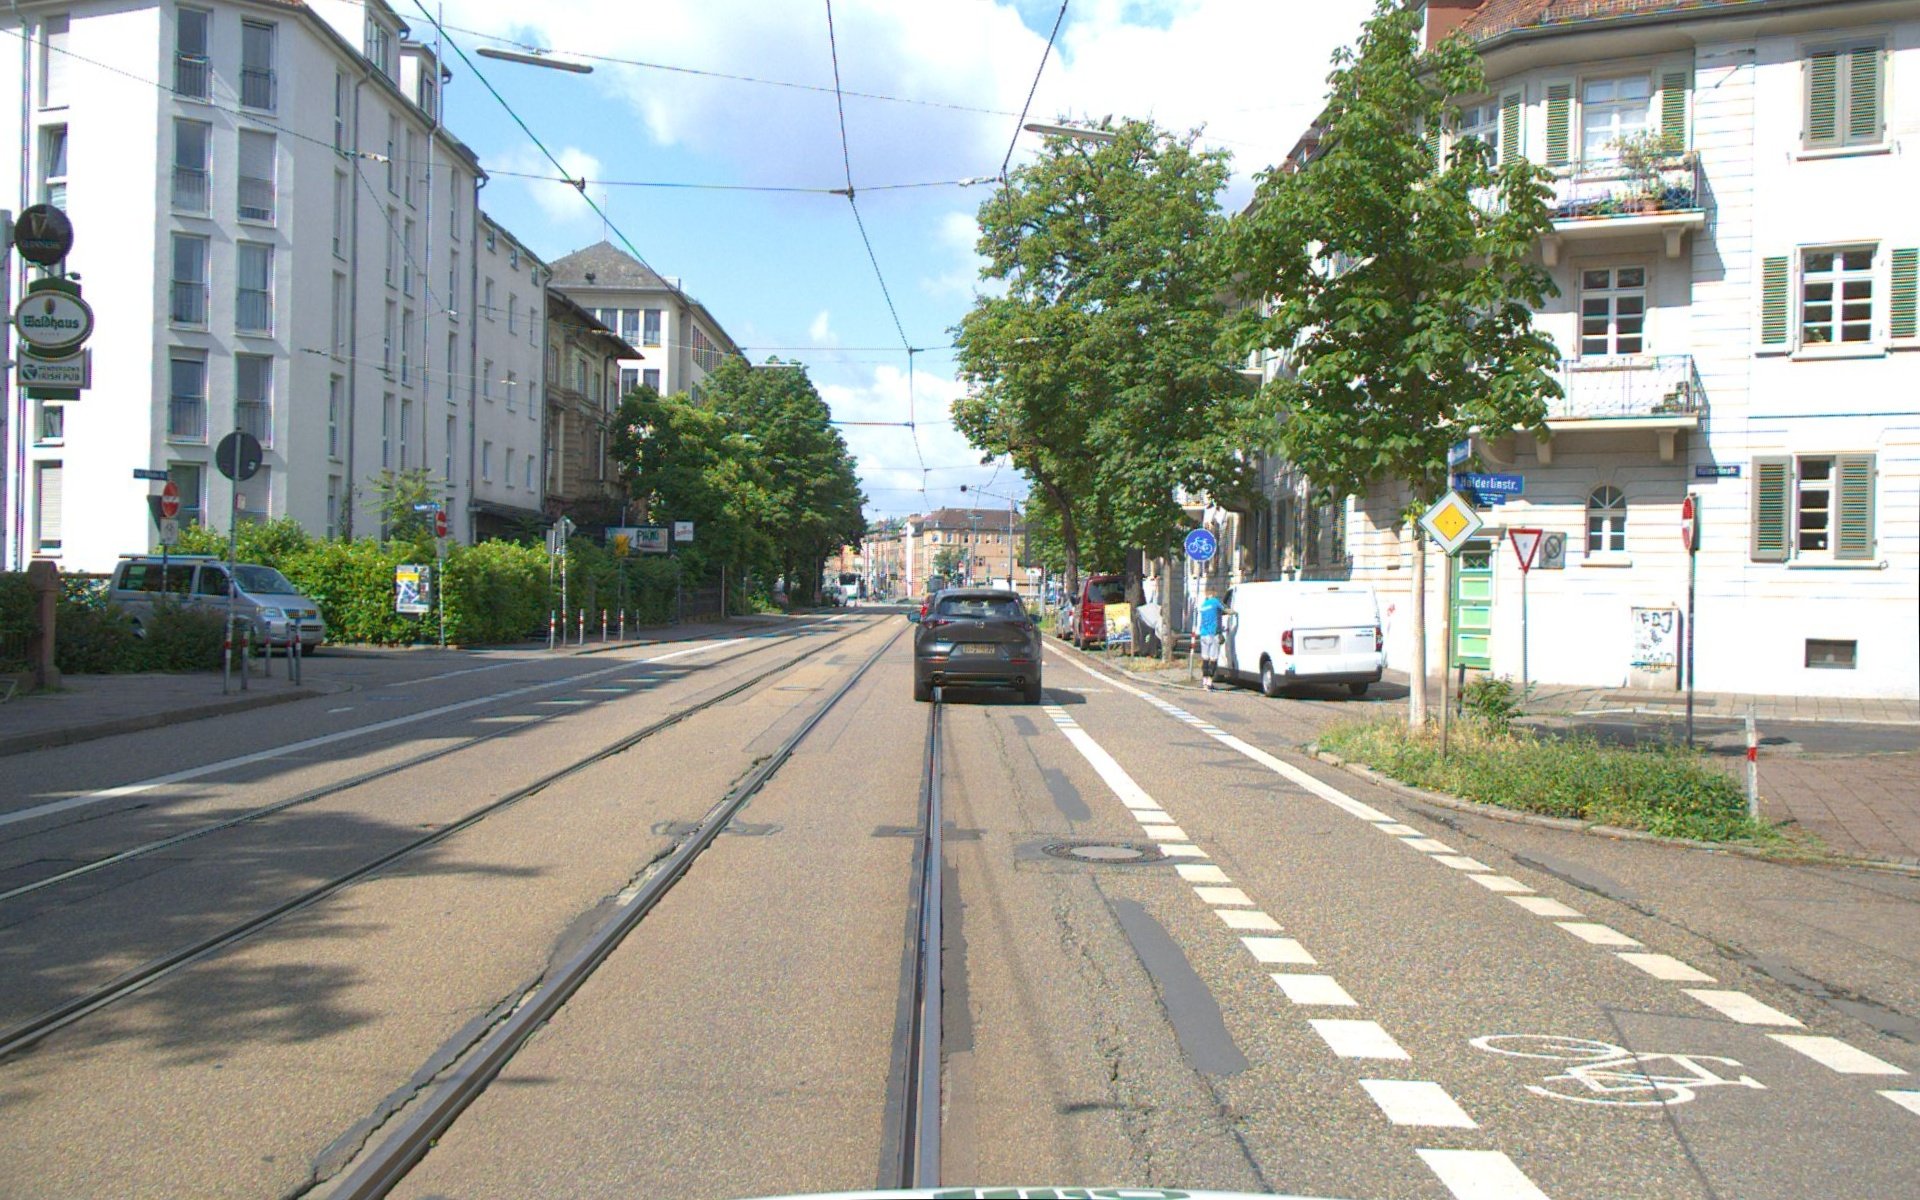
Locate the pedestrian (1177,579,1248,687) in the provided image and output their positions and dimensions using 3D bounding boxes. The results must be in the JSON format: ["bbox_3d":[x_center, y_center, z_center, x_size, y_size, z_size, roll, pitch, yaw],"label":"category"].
[{"bbox_3d":[4.463,0.583,29.274,0.944,1.868,0.813,1,0,-18],"label":"pedestrian"}]

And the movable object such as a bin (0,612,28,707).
[{"bbox_3d":[-10.732,0.632,17.807,0.730,1.005,1.114,3,0,-1],"label":"movable object such as a bin"}]

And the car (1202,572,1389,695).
[{"bbox_3d":[5.807,0.521,29.275,1.753,1.972,4.984,1,0,-7],"label":"car"}]

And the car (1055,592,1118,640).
[{"bbox_3d":[4.084,0.494,53.805,1.686,1.449,3.588,1,0,-1],"label":"car"}]

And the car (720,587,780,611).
[{"bbox_3d":[-13.323,-0.067,105.070,3.673,1.309,1.609,3,0,-5],"label":"car"}]

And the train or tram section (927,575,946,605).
[{"bbox_3d":[-3.130,-1.324,223.368,2.519,3.838,13.025,1,0,0],"label":"train or tram section"}]

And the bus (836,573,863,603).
[{"bbox_3d":[-13.746,-1.478,205.435,2.637,3.480,11.002,3,0,-7],"label":"bus"}]

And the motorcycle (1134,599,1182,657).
[{"bbox_3d":[4.668,0.639,39.188,0.778,1.293,2.422,1,0,-1],"label":"motorcycle"}]

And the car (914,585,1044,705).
[{"bbox_3d":[0.219,0.579,23.563,1.686,1.553,3.588,1,0,-1],"label":"car"}]

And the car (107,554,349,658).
[{"bbox_3d":[-15.459,0.095,34.957,4.566,2.049,2.046,1,0,21],"label":"car"}]

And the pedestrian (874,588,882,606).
[{"bbox_3d":[-9.137,-0.357,184.079,0.867,2.049,0.617,1,0,-5],"label":"pedestrian"}]

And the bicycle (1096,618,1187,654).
[{"bbox_3d":[4.632,0.911,42.297,2.229,0.876,0.671,1,0,-2],"label":"bicycle"}]

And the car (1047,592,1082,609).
[{"bbox_3d":[11.950,0.044,189.005,3.770,1.646,1.620,3,0,-32],"label":"car"}]

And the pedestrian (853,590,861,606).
[{"bbox_3d":[-9.941,-0.177,159.634,0.736,1.537,0.823,1,0,-5],"label":"pedestrian"}]

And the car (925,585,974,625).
[{"bbox_3d":[-0.482,0.201,70.101,1.953,1.555,3.999,3,0,-1],"label":"car"}]

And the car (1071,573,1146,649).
[{"bbox_3d":[4.095,0.283,46.067,1.685,2.003,4.207,1,0,0],"label":"car"}]

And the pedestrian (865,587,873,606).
[{"bbox_3d":[-10.135,-0.384,184.073,0.867,2.049,0.617,1,0,-5],"label":"pedestrian"}]

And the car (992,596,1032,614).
[{"bbox_3d":[5.426,0.478,171.159,3.749,1.646,1.629,3,0,-19],"label":"car"}]
